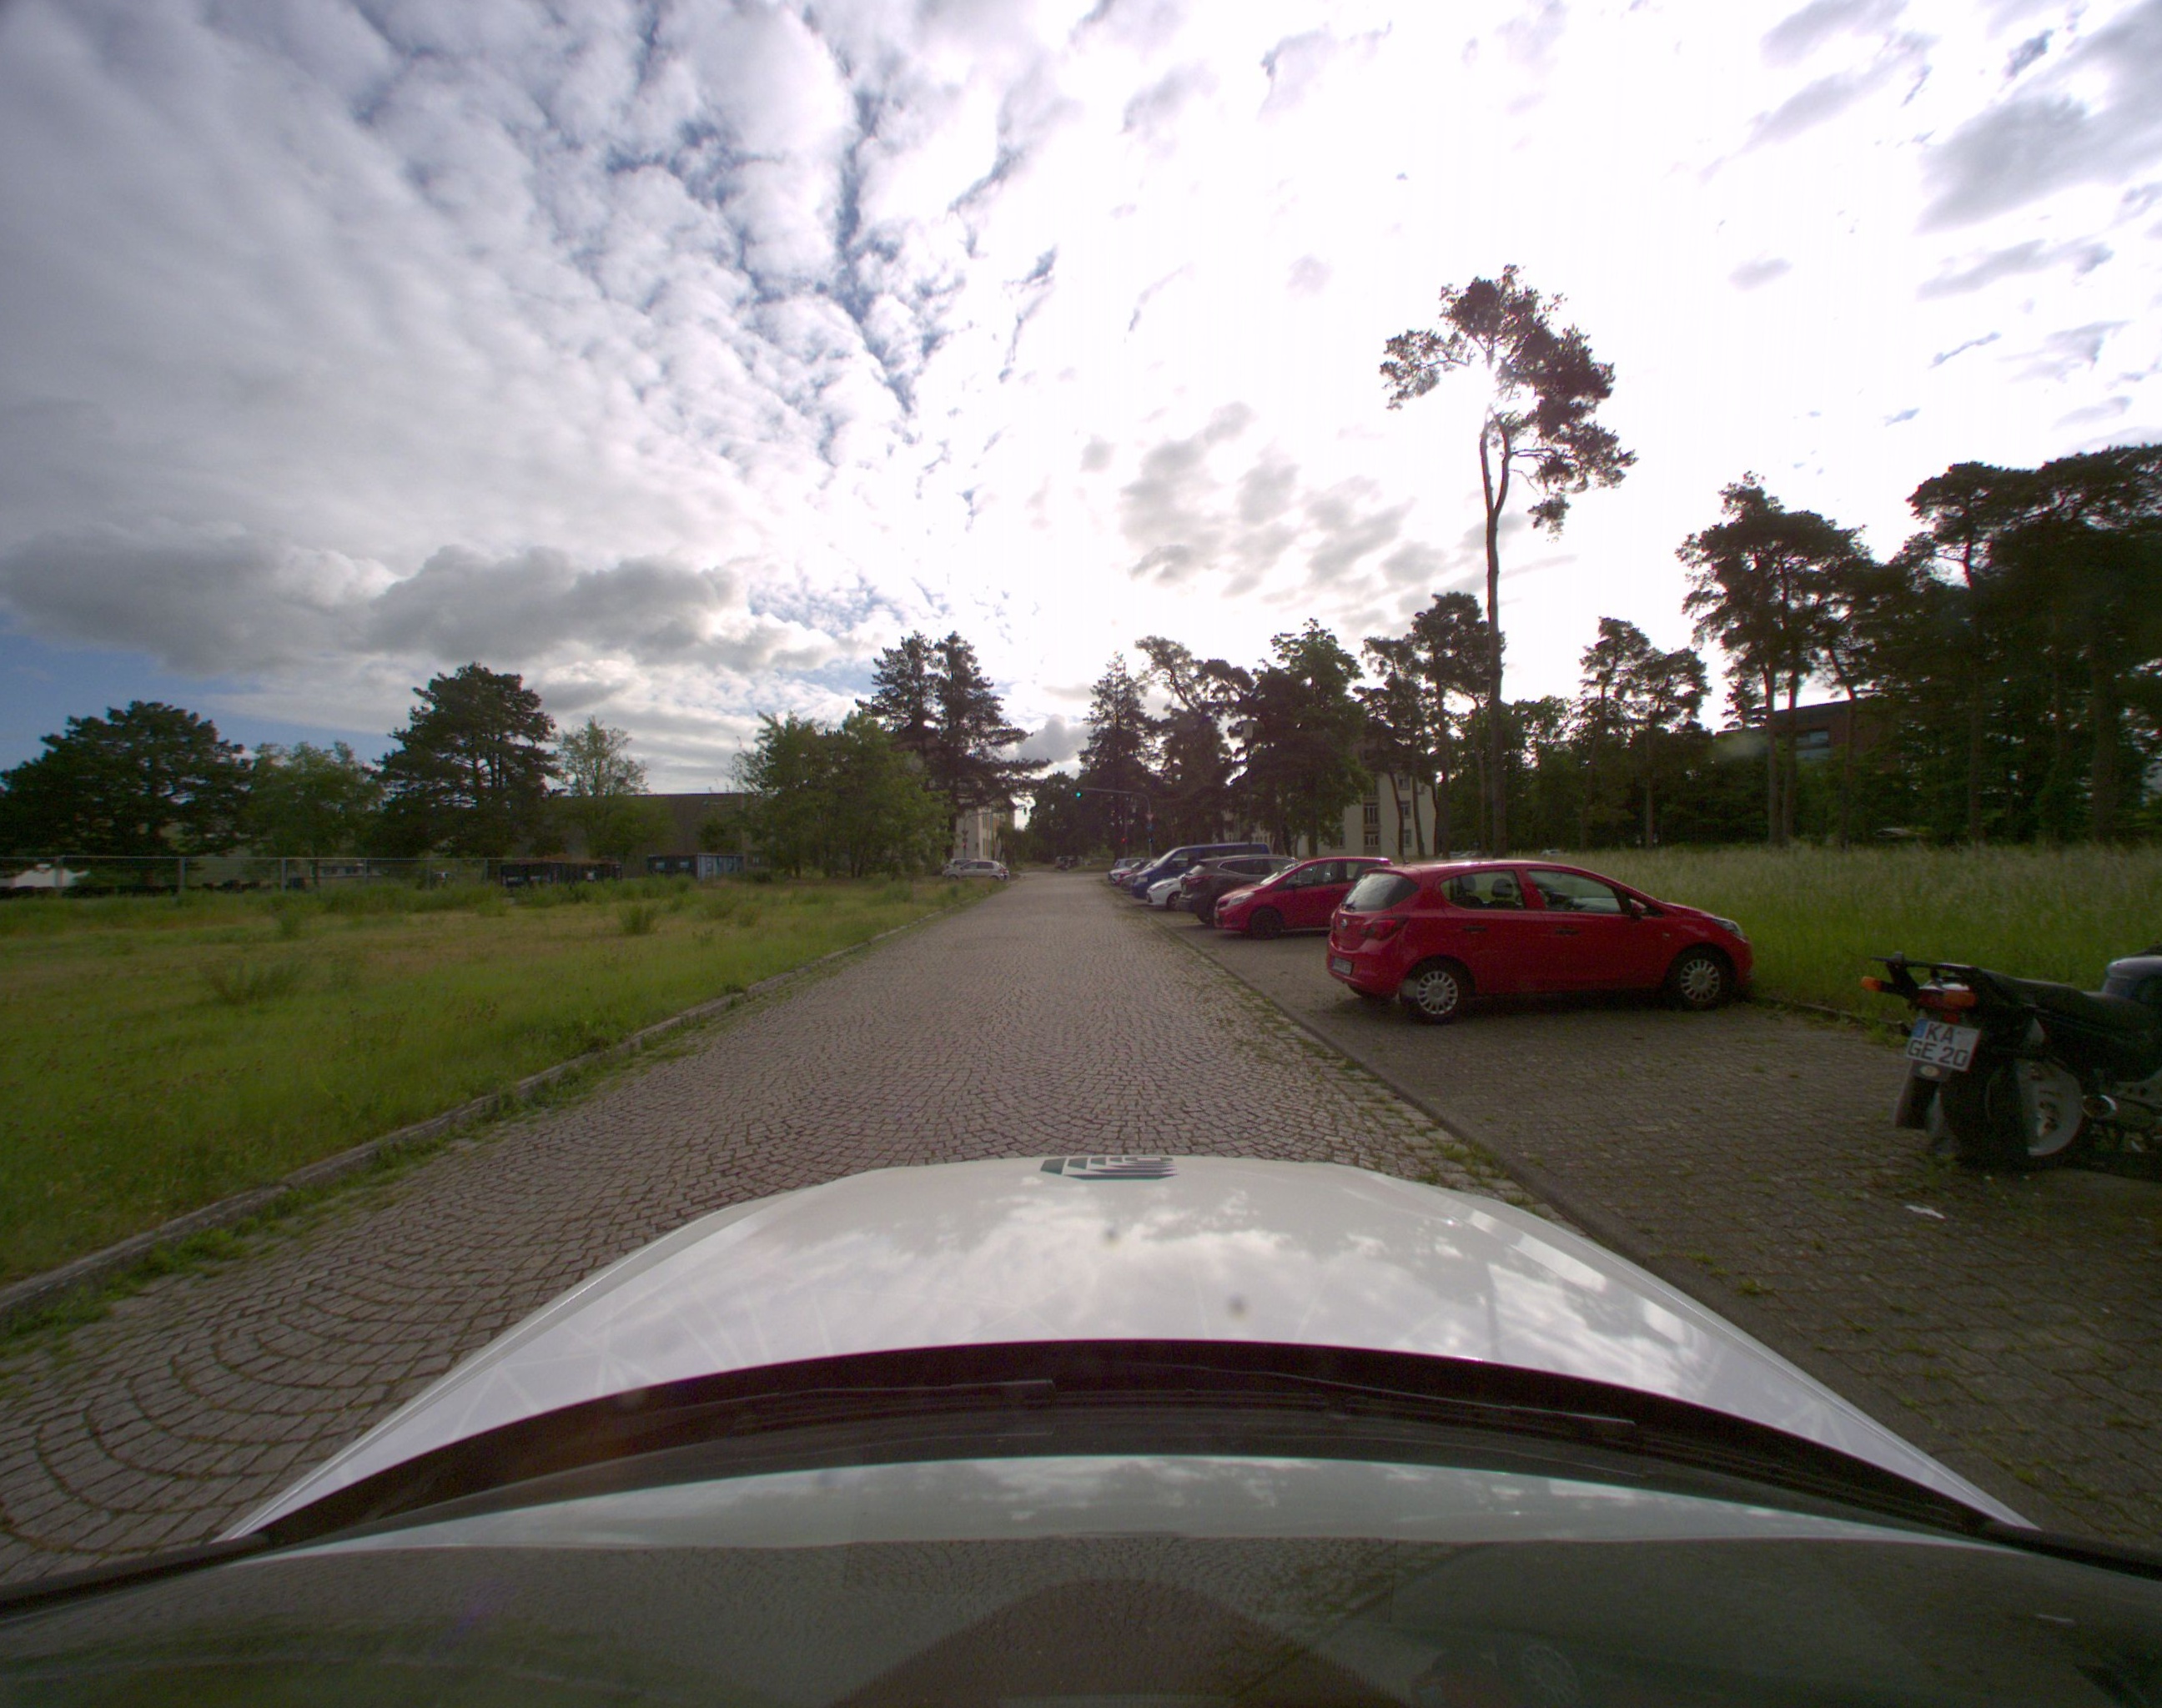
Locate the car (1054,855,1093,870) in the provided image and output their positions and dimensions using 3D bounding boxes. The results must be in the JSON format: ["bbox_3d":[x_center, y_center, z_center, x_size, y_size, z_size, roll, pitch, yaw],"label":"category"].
[{"bbox_3d":[-1.092,1.229,117.987,5.447,2.014,2.260,0,-1,-11],"label":"car"}]

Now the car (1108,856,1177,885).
[{"bbox_3d":[3.437,0.911,45.786,3.667,1.421,1.521,-2,-1,-6],"label":"car"}]

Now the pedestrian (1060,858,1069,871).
[{"bbox_3d":[-2.046,1.318,99.892,1.033,1.614,0.755,0,-1,-8],"label":"pedestrian"}]

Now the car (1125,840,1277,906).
[{"bbox_3d":[3.972,0.616,27.518,4.744,1.954,1.929,-2,-1,-4],"label":"car"}]

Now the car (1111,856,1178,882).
[{"bbox_3d":[3.995,0.924,51.308,3.962,1.421,1.616,-2,-1,-6],"label":"car"}]

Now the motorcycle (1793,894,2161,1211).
[{"bbox_3d":[4.812,0.831,3.822,2.322,1.186,0.794,-2,-1,-4],"label":"motorcycle"}]

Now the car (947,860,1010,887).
[{"bbox_3d":[-6.586,1.228,52.341,3.812,1.572,1.563,-2,-1,-2],"label":"car"}]

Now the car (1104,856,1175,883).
[{"bbox_3d":[3.473,0.934,48.642,3.962,1.421,1.616,-2,-1,-6],"label":"car"}]

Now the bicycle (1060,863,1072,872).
[{"bbox_3d":[-1.771,1.587,95.986,0.623,0.945,1.647,0,-1,-29],"label":"bicycle"}]

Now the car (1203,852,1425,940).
[{"bbox_3d":[4.440,0.773,15.910,3.781,1.460,1.750,-2,-1,-2],"label":"car"}]

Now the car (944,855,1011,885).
[{"bbox_3d":[-6.990,1.095,55.318,4.251,1.840,1.742,-2,-1,-2],"label":"car"}]

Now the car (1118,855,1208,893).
[{"bbox_3d":[3.550,0.872,35.559,3.664,1.449,1.522,-2,-1,-3],"label":"car"}]

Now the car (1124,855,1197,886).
[{"bbox_3d":[4.217,0.881,43.557,3.664,1.449,1.522,-2,-1,-3],"label":"car"}]

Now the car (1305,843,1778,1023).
[{"bbox_3d":[4.466,0.720,8.322,3.816,1.460,1.778,-2,-1,-2],"label":"car"}]

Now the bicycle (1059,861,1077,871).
[{"bbox_3d":[-1.636,1.515,99.713,2.134,1.215,0.620,0,-1,-7],"label":"bicycle"}]

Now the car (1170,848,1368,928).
[{"bbox_3d":[4.191,0.736,18.554,4.020,1.552,1.748,-2,-1,-4],"label":"car"}]

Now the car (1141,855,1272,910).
[{"bbox_3d":[3.779,0.854,24.917,3.665,1.449,1.612,-2,-1,-4],"label":"car"}]

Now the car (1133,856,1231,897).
[{"bbox_3d":[4.021,0.877,32.794,3.664,1.449,1.522,-2,-1,-3],"label":"car"}]

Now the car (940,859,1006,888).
[{"bbox_3d":[-6.586,1.173,49.925,3.815,1.572,1.562,-2,-1,-5],"label":"car"}]

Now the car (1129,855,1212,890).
[{"bbox_3d":[4.195,0.864,38.566,3.664,1.449,1.522,-2,-1,-3],"label":"car"}]

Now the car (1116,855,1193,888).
[{"bbox_3d":[3.670,0.871,41.256,3.664,1.449,1.522,-2,-1,-3],"label":"car"}]
